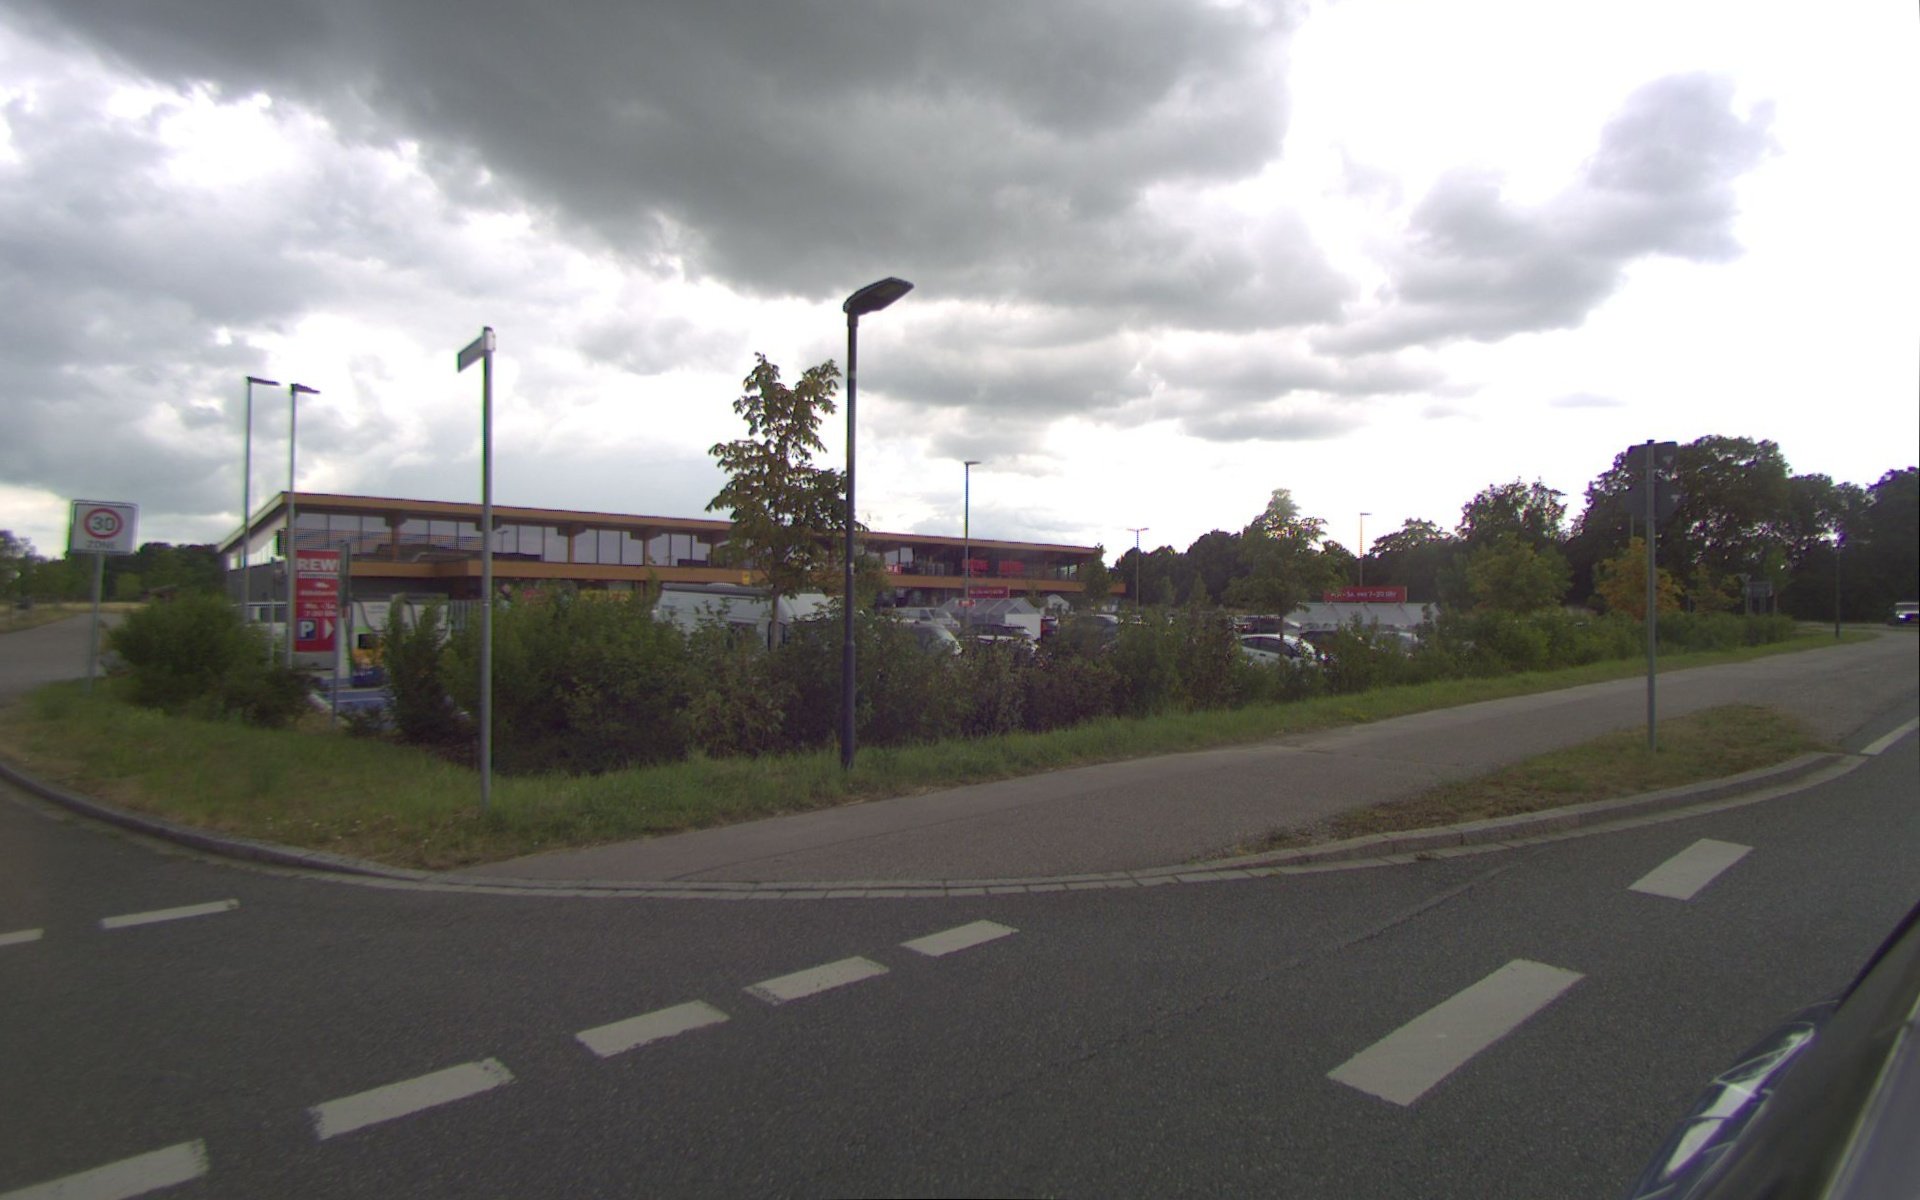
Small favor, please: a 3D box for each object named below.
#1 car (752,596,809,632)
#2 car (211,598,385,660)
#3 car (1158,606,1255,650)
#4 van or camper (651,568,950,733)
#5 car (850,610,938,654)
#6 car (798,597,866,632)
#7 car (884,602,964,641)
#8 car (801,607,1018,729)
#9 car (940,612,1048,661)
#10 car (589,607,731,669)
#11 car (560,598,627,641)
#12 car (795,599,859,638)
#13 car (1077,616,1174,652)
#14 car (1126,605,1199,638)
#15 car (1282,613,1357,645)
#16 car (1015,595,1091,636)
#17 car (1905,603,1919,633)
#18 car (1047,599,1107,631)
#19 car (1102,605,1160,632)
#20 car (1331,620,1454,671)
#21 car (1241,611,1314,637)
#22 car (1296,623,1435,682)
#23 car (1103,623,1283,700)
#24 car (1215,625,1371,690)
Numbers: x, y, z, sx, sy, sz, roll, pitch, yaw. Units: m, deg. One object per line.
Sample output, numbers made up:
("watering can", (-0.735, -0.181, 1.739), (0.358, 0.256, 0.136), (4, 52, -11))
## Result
("car", (-11.153, 0.839, 62.726), (1.962, 2.039, 4.000), (1, 1, -36))
("car", (-24.115, 1.003, 36.978), (5.140, 2.039, 1.998), (0, 1, -40))
("car", (11.900, 1.304, 49.108), (1.962, 1.894, 4.274), (1, 1, -36))
("van or camper", (-3.200, 0.705, 18.745), (2.243, 2.495, 6.475), (1, 1, -43))
("car", (-2.928, 1.346, 44.174), (1.962, 1.638, 4.000), (1, 1, -36))
("car", (-8.583, 0.924, 67.448), (1.965, 2.039, 5.138), (1, 1, -41))
("car", (-2.210, 1.228, 60.684), (1.965, 2.039, 5.138), (1, 1, -41))
("car", (-1.150, 1.247, 20.757), (1.966, 2.039, 4.600), (1, 1, -42))
("car", (1.265, 1.365, 39.133), (1.965, 1.638, 3.996), (1, 1, -40))
("car", (-10.908, 1.315, 36.676), (4.898, 1.930, 2.089), (2, 1, 28))
("car", (-19.311, 0.967, 53.259), (1.819, 2.035, 4.224), (1, 1, -42))
("car", (-7.664, 1.044, 58.000), (1.962, 2.039, 4.000), (1, 1, -36))
("car", (7.390, 1.489, 45.499), (1.965, 1.460, 3.993), (0, 0, -41))
("car", (12.707, 1.314, 63.742), (1.962, 1.894, 4.274), (1, 1, -36))
("car", (20.204, 1.605, 56.956), (1.723, 1.552, 3.555), (1, 1, -42))
("car", (5.043, 0.835, 55.242), (1.962, 2.039, 4.000), (1, 1, -36))
("car", (60.340, 1.128, 63.034), (1.993, 1.860, 3.939), (2, 1, 42))
("car", (8.189, 1.007, 71.092), (1.962, 2.039, 4.000), (1, 1, -36))
("car", (12.759, 1.357, 75.624), (2.032, 1.871, 4.000), (1, 1, -36))
("car", (15.717, 1.598, 36.891), (1.647, 1.557, 3.762), (1, 1, -42))
("car", (20.518, 1.526, 65.506), (1.962, 1.504, 4.132), (1, 1, -36))
("car", (12.841, 1.628, 32.201), (1.647, 1.557, 3.762), (1, 1, -42))
("car", (6.000, 1.513, 26.413), (2.045, 1.618, 4.153), (1, 1, -42))
("car", (9.888, 1.656, 30.305), (1.647, 1.557, 4.153), (1, 1, -42))
